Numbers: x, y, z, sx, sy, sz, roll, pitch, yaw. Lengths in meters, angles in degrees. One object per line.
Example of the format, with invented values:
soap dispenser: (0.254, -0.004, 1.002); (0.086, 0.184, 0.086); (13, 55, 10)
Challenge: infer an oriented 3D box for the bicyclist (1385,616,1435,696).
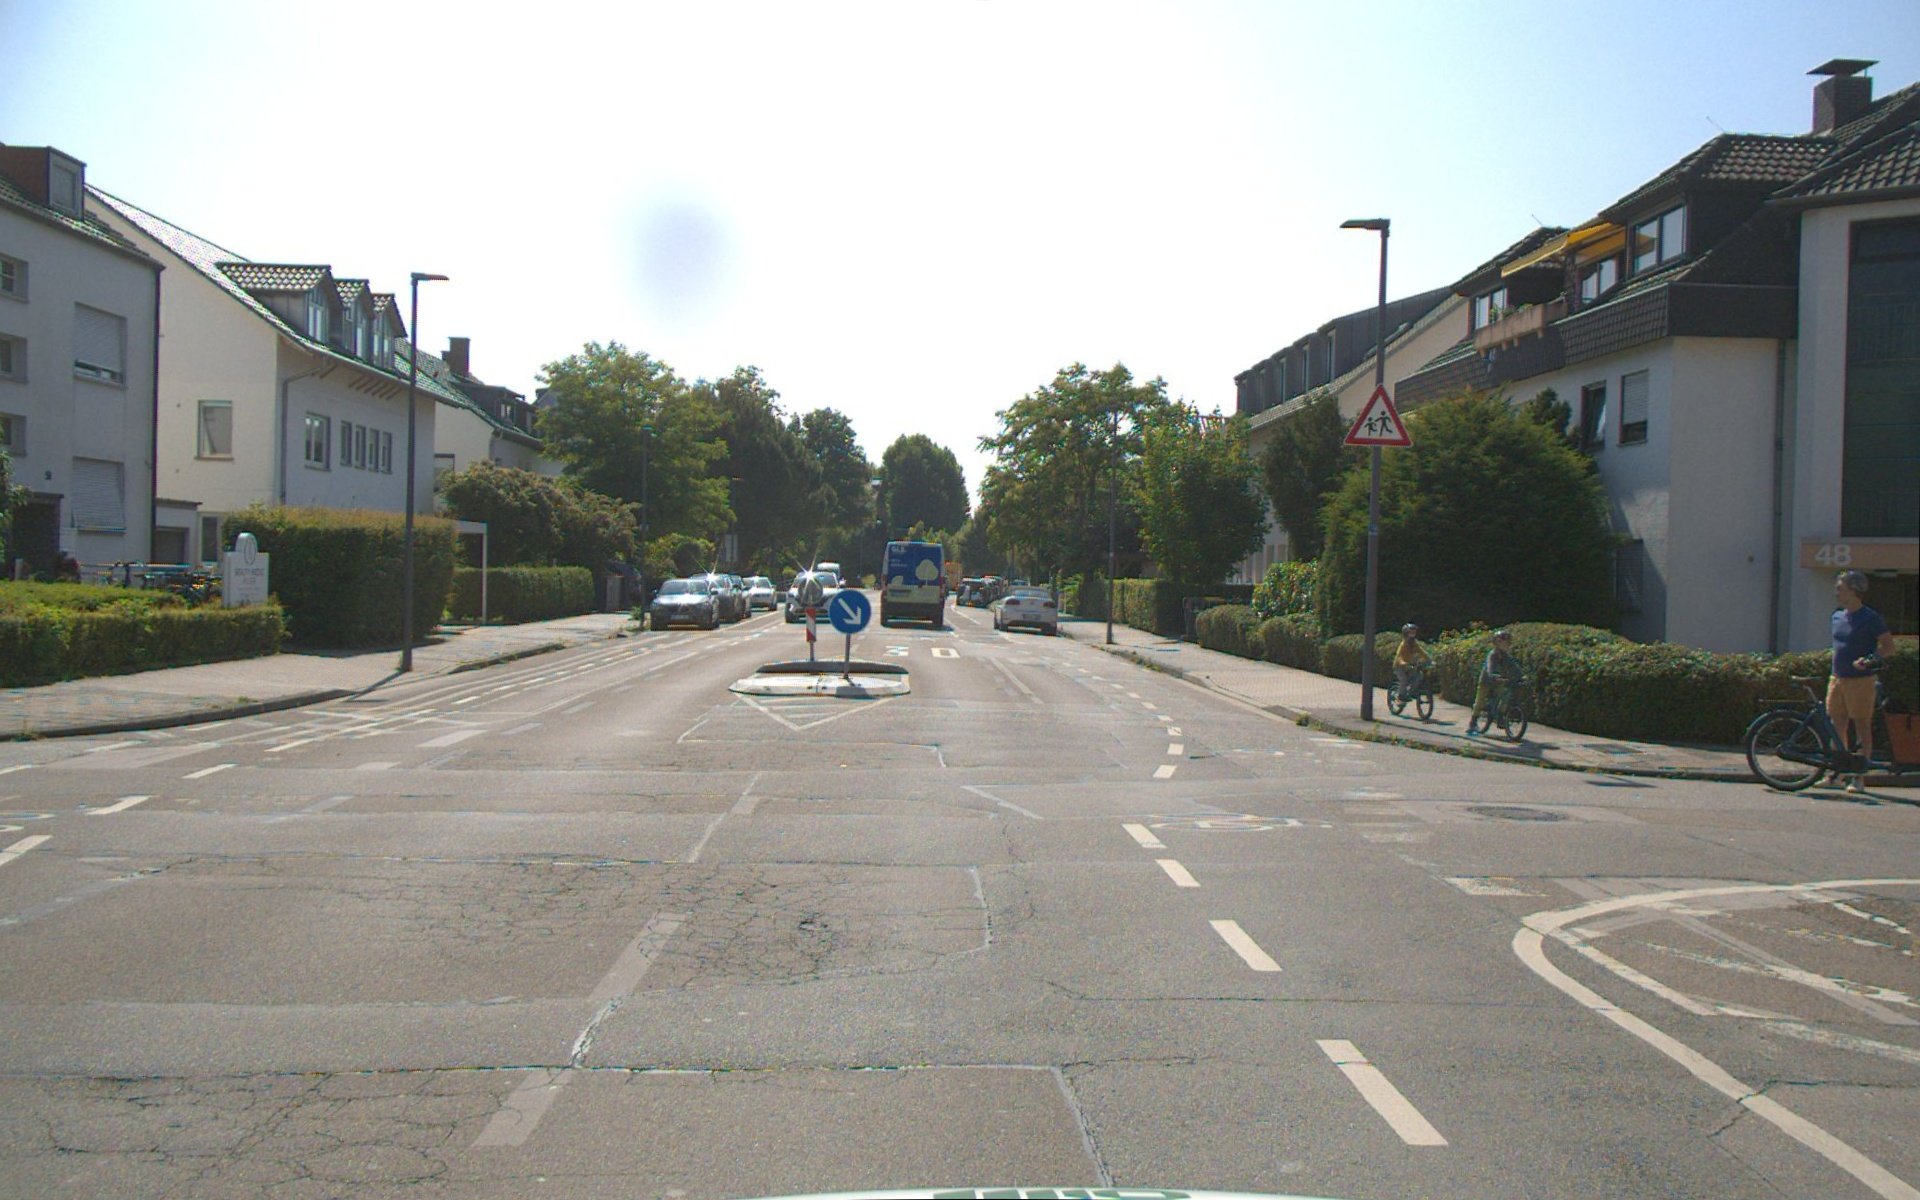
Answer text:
bicyclist: (5.472, 0.676, 20.138); (0.391, 0.949, 0.608); (1, 0, -5)

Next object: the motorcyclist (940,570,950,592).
motorcyclist: (-1.097, -1.374, 118.994); (0.658, 1.545, 0.652); (1, 0, -2)

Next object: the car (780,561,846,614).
car: (-4.892, -0.426, 55.687); (1.876, 1.695, 4.505); (0, 1, -1)

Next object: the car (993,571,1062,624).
car: (2.060, -0.100, 51.251); (1.706, 1.426, 4.072); (3, 2, -3)

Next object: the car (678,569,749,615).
car: (-8.036, -0.296, 54.230); (1.749, 1.465, 4.110); (0, 1, -1)

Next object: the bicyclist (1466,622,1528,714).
bicyclist: (5.761, 0.718, 17.754); (0.393, 0.945, 0.657); (1, 0, -4)

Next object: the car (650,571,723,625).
car: (-7.814, -0.083, 47.511); (1.750, 1.465, 4.151); (0, 1, -5)

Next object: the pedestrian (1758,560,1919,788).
pedestrian: (7.843, 0.615, 14.557); (0.891, 1.905, 1.174); (1, 0, -35)

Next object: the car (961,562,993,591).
car: (0.993, -1.413, 99.311); (1.748, 1.666, 4.470); (1, 1, -1)

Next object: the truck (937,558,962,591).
truck: (-1.002, -2.427, 156.580); (2.169, 2.998, 5.685); (1, 0, -1)

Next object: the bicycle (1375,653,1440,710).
bicycle: (5.449, 0.983, 20.170); (0.393, 0.610, 1.150); (1, 1, -5)

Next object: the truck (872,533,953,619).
truck: (-1.566, -0.752, 53.280); (2.229, 2.616, 4.386); (1, 0, -6)

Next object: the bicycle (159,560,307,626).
bicycle: (-13.292, -0.114, 30.270); (2.409, 1.125, 0.532); (1, 6, -34)

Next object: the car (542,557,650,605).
car: (-14.528, -0.776, 66.166); (3.906, 1.790, 2.000); (1, 1, -2)

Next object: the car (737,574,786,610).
car: (-8.442, -0.348, 70.644); (1.749, 1.465, 3.999); (0, 1, -2)

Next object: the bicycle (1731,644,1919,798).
bicycle: (7.951, 1.013, 13.816); (2.653, 1.178, 0.862); (2, 1, 31)

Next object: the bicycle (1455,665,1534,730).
bicycle: (5.755, 1.040, 17.862); (0.393, 0.610, 1.172); (1, 1, -4)

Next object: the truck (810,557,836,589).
truck: (-11.647, -2.308, 140.647); (2.040, 2.581, 5.462); (1, 1, -5)

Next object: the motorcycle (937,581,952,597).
motorcycle: (-1.129, -0.775, 119.174); (1.035, 1.142, 2.991); (1, 1, -2)

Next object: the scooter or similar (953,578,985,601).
scooter or similar: (0.528, -0.635, 96.549); (1.766, 1.173, 0.715); (6, 1, 43)
